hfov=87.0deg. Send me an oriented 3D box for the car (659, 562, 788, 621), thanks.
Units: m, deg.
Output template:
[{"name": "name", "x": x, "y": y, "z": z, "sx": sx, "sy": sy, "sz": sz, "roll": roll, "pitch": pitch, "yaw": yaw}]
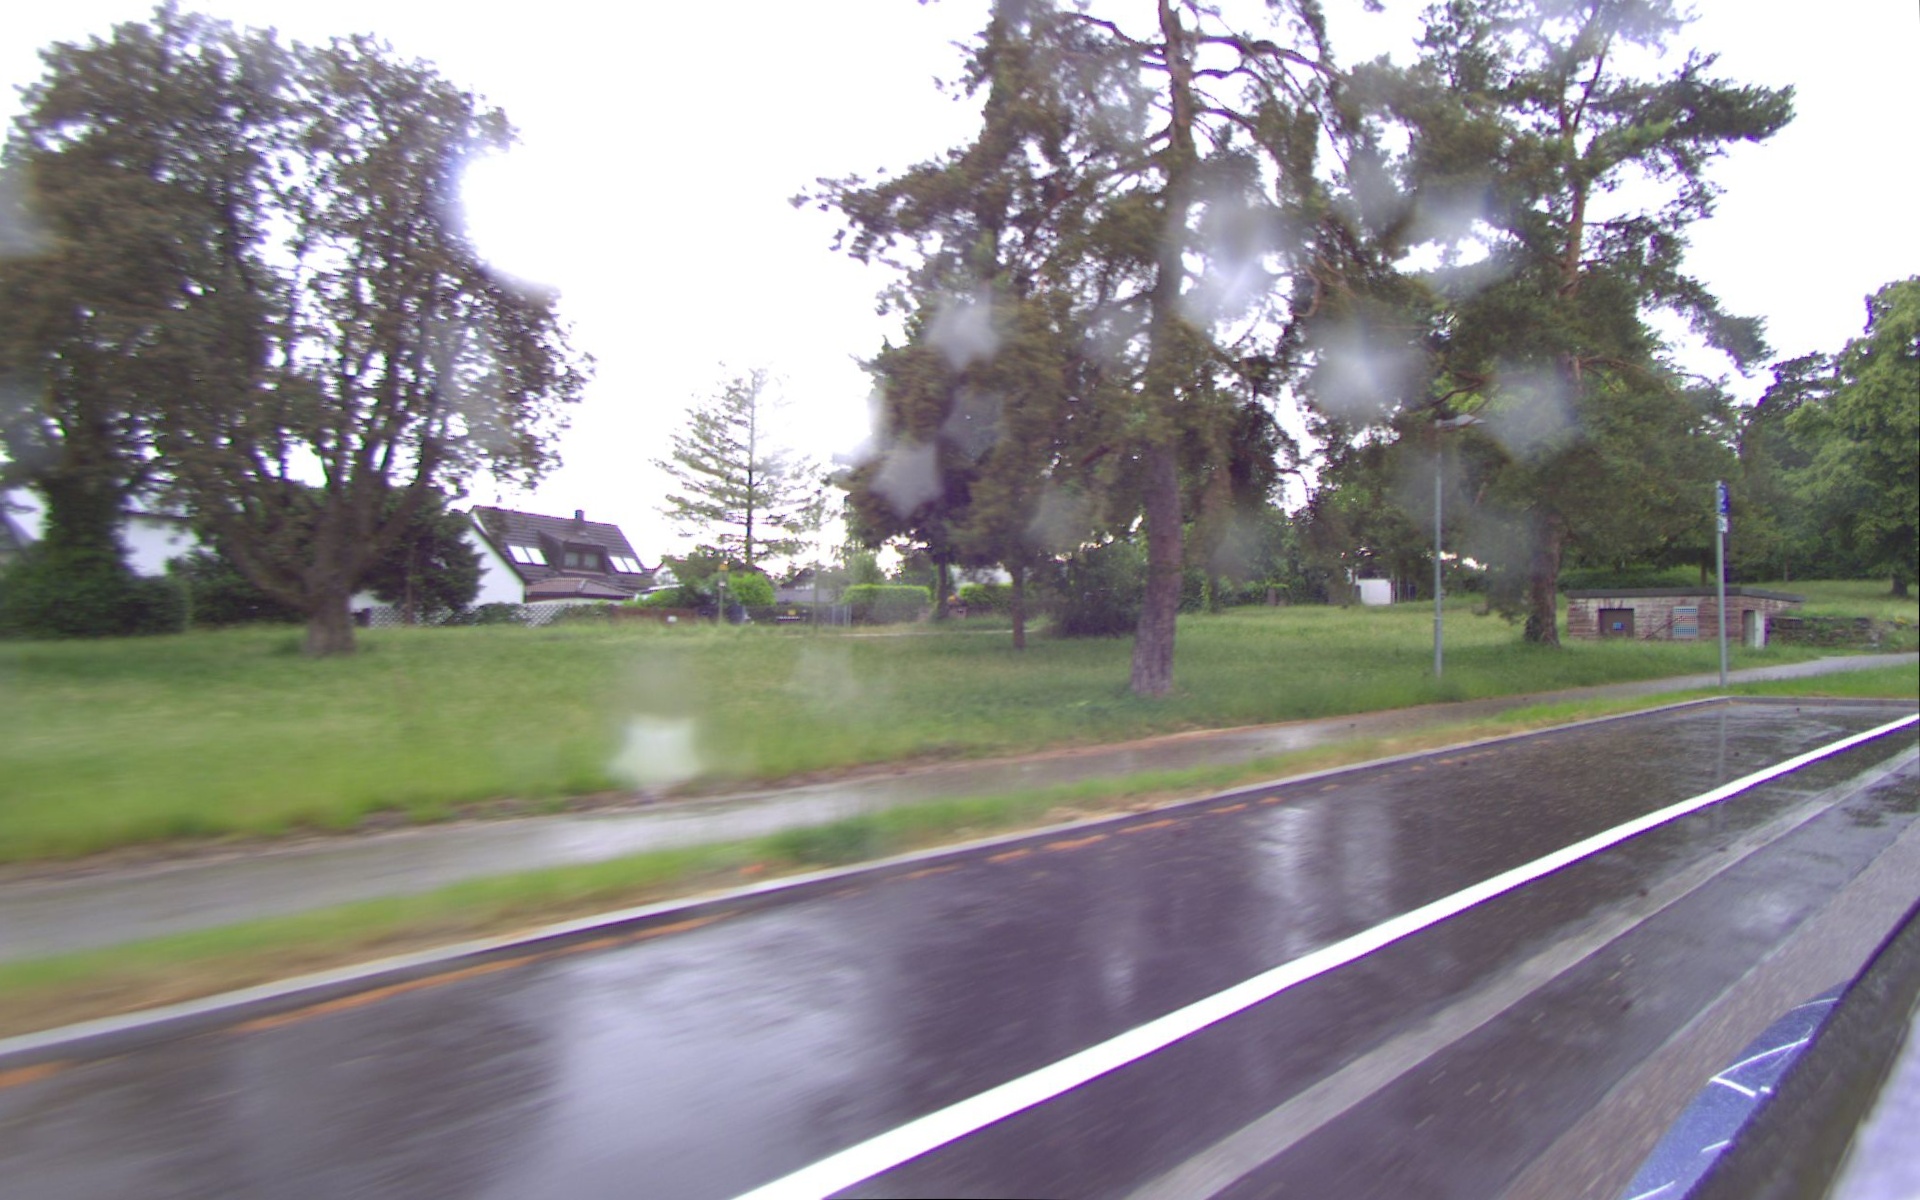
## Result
[{"name": "car", "x": -11.434, "y": -0.446, "z": 48.678, "sx": 6.659, "sy": 2.530, "sz": 2.574, "roll": 2, "pitch": -2, "yaw": 41}]
